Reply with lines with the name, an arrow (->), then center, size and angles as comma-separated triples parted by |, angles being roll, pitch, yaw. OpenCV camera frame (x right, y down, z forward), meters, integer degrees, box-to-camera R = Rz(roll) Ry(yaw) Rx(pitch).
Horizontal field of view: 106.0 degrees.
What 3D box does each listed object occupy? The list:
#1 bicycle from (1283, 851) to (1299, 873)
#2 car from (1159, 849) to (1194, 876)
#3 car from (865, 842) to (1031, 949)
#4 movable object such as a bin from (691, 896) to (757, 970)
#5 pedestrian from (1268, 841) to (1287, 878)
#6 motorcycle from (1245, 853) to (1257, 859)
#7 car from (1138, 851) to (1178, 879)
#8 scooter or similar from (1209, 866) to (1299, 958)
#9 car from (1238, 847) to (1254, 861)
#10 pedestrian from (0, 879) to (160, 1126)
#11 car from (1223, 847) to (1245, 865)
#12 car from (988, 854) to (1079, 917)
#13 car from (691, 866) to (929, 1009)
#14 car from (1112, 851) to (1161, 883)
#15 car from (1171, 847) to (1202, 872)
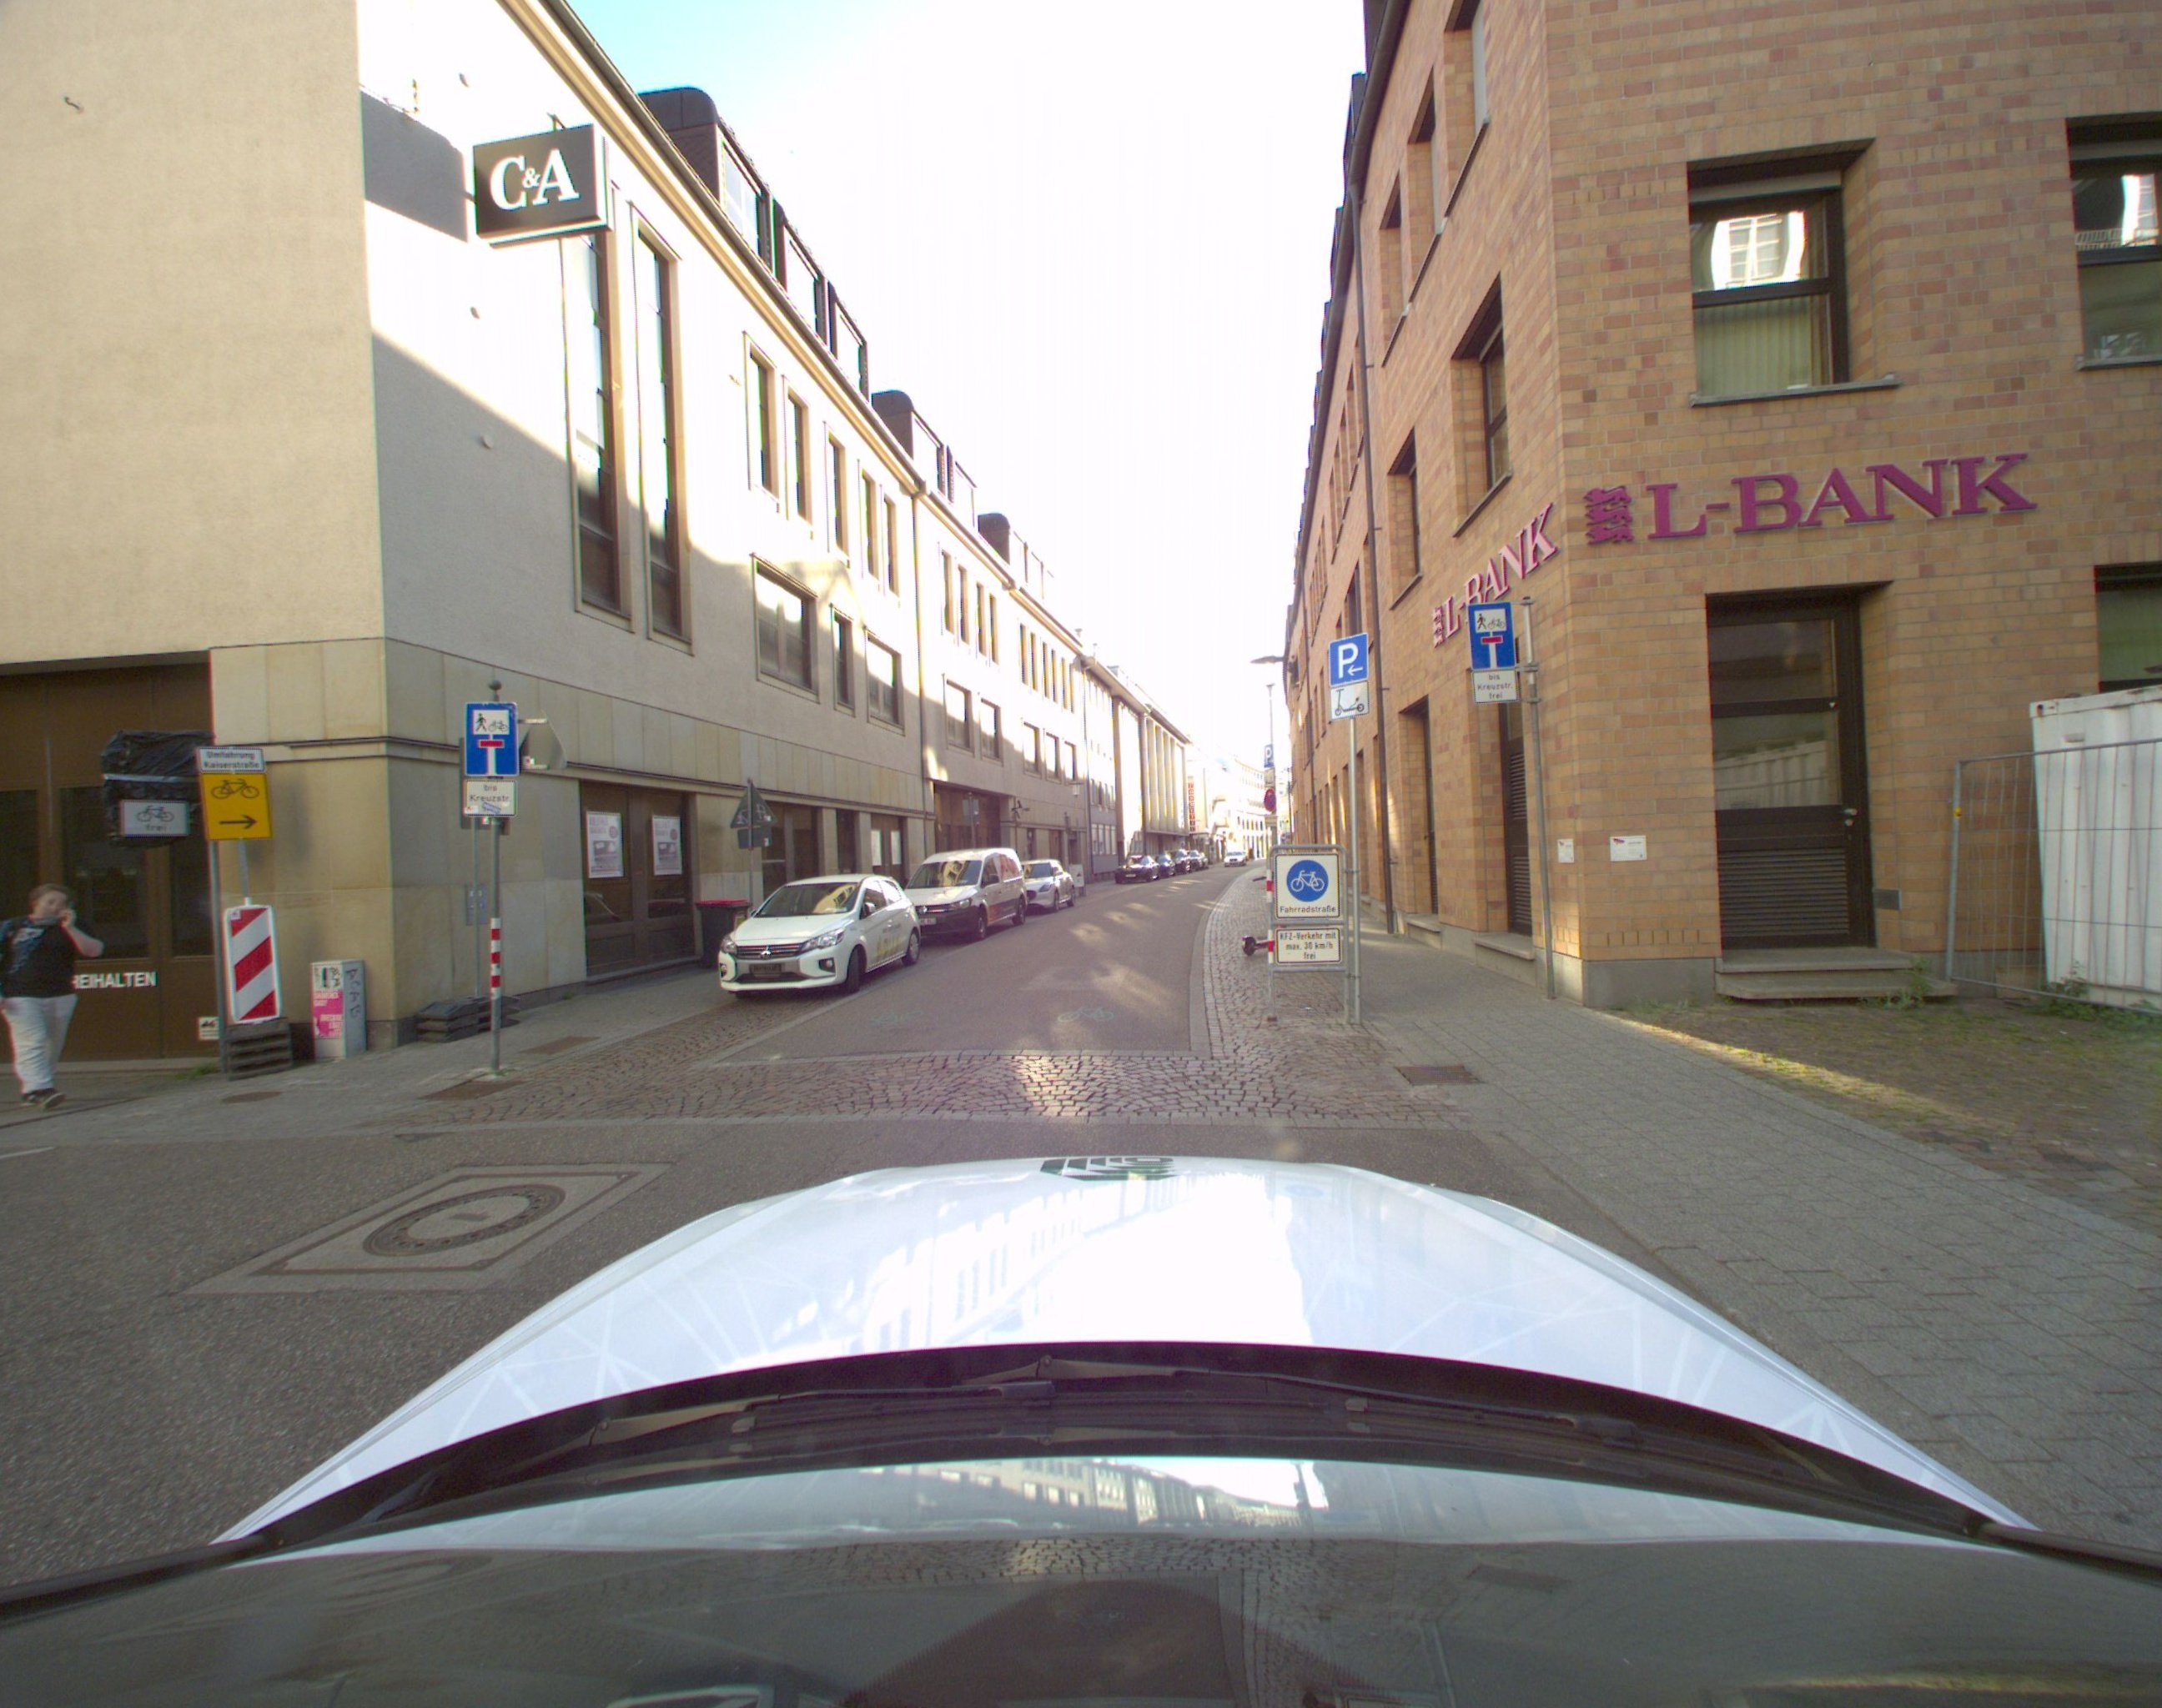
bicycle -> 11.388, 0.414, 44.197 | 0.546, 1.103, 1.988 | -6, -1, 10
car -> 6.583, 0.526, 55.789 | 1.877, 1.675, 4.569 | -3, 0, 12
car -> -2.603, 0.752, 17.330 | 1.887, 1.857, 4.747 | -4, 0, 10
movable object such as a bin -> -5.557, 1.214, 12.701 | 0.733, 1.101, 0.592 | 0, -1, 6
pedestrian -> 9.640, 0.270, 40.046 | 0.755, 1.716, 0.824 | -4, -1, 12
motorcycle -> 23.781, 0.240, 113.966 | 1.677, 0.859, 0.597 | -1, -1, 20
car -> 4.802, 0.650, 50.098 | 1.877, 1.530, 4.354 | -3, 0, 12
scooter or similar -> 2.599, 0.825, 12.162 | 1.426, 1.235, 0.532 | -2, 1, -41
car -> 19.772, -0.047, 97.567 | 1.627, 1.517, 4.176 | -3, 0, 14
pedestrian -> -8.312, 1.155, 6.567 | 0.858, 1.854, 0.714 | -4, -2, -6
car -> 13.846, 0.148, 73.651 | 1.703, 1.517, 4.174 | -3, 0, 12
car -> -1.282, 0.845, 23.515 | 1.659, 1.522, 3.786 | -5, 0, 10
car -> -3.537, 1.013, 11.445 | 1.729, 1.492, 3.804 | -4, 0, 4
car -> 3.049, 0.660, 43.927 | 1.877, 1.530, 4.745 | -3, 0, 12
car -> 8.222, 0.385, 63.126 | 1.877, 1.742, 4.406 | -3, 0, 12
